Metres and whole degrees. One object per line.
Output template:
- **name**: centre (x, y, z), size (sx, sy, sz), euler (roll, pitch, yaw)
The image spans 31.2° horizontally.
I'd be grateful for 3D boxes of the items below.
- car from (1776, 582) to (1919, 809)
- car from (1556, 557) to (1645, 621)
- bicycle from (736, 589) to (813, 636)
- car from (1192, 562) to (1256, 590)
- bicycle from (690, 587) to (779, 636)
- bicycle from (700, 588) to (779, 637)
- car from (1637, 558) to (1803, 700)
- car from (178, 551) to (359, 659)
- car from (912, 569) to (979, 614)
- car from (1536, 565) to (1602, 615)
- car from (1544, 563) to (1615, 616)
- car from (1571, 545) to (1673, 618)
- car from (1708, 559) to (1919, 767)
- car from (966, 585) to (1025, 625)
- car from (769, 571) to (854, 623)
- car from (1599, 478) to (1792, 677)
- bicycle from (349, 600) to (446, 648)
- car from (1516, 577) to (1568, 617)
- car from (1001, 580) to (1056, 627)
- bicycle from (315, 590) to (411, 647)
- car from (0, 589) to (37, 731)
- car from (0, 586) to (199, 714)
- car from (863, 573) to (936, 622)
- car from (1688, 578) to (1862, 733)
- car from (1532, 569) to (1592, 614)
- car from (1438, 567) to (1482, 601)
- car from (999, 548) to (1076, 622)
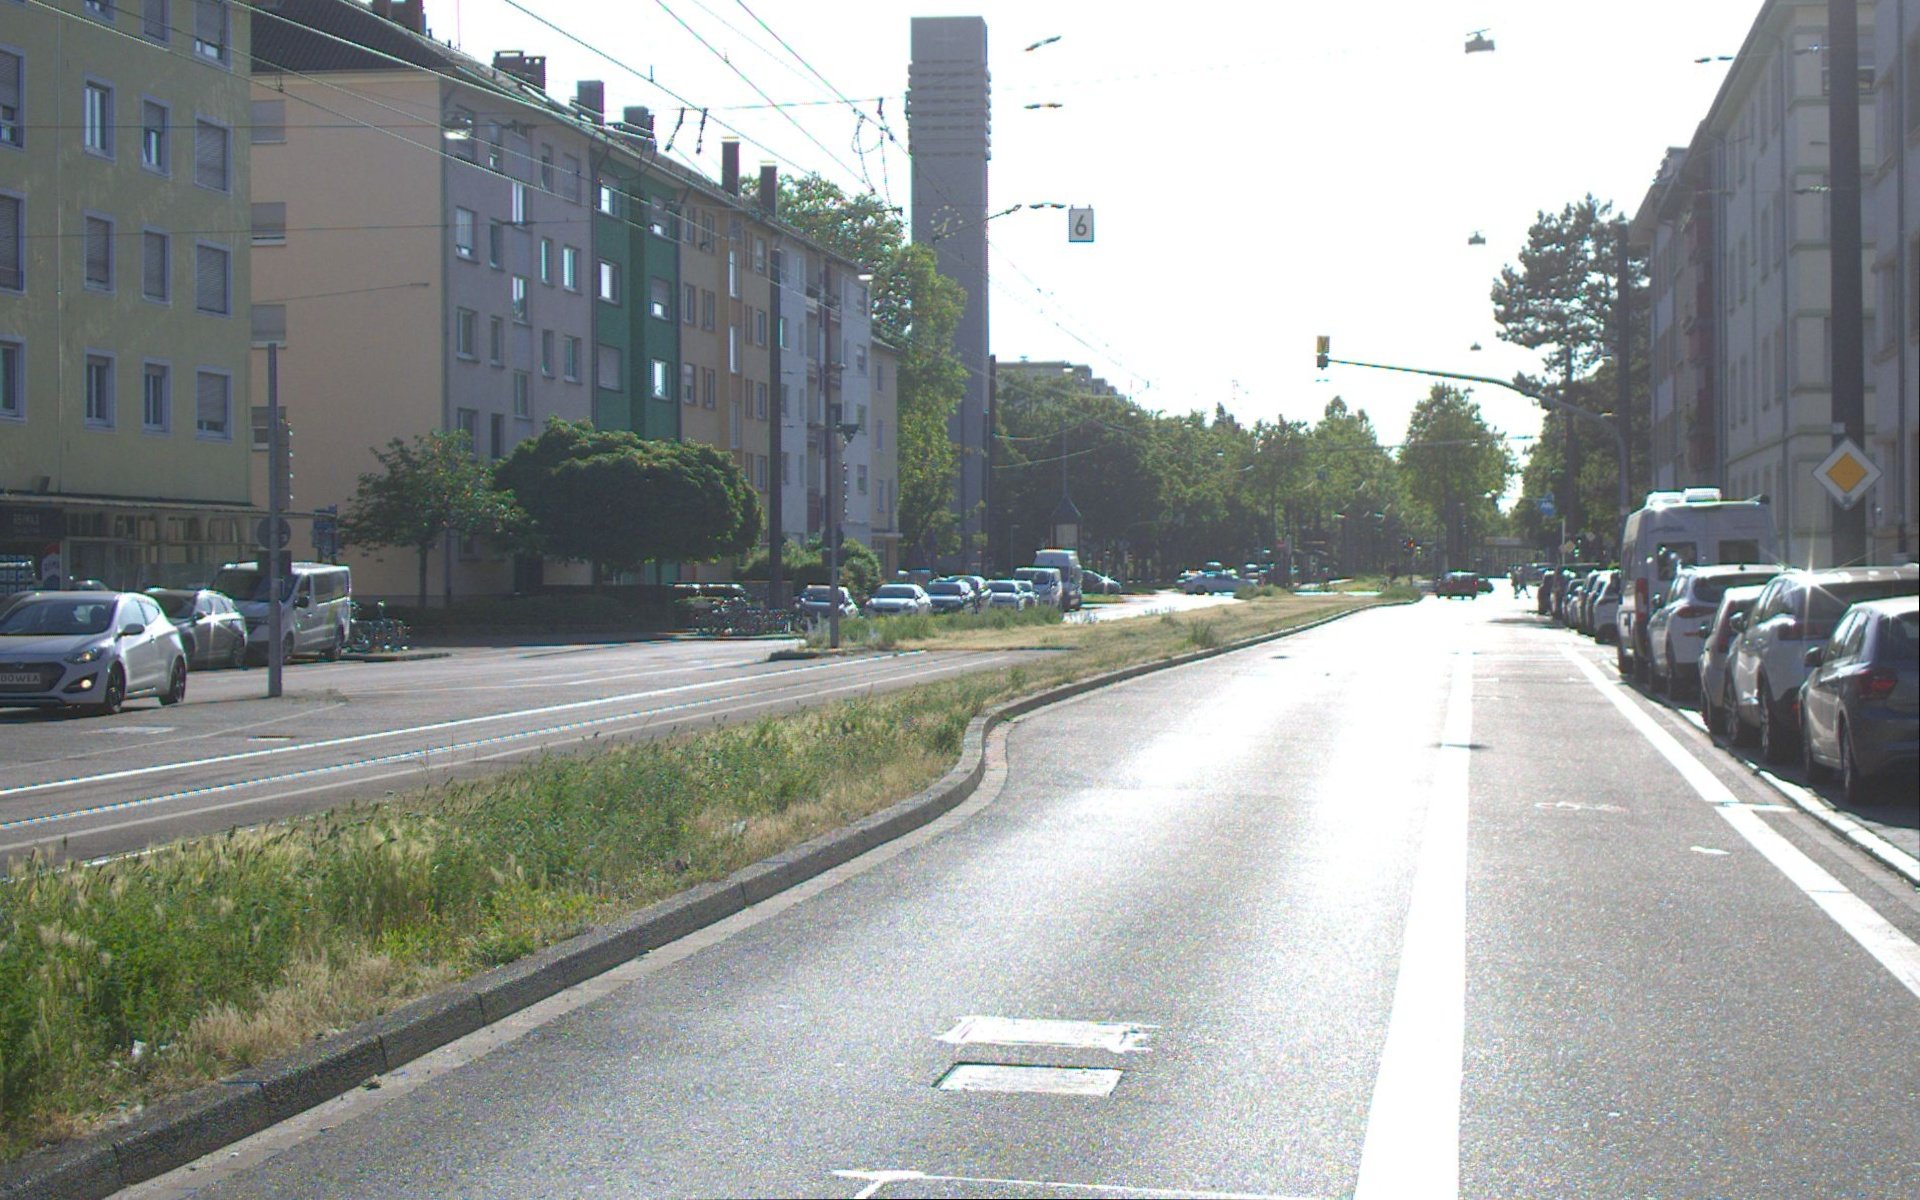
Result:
- **car**: centre (7.163, 0.628, 25.342), size (1.773, 1.466, 4.092), euler (-3, 0, 8)
- **car**: centre (16.214, -0.263, 87.163), size (1.897, 1.482, 3.738), euler (-1, -1, 6)
- **bicycle**: centre (-5.323, 0.360, 98.461), size (2.127, 1.320, 0.897), euler (0, -2, -8)
- **car**: centre (16.913, -1.528, 220.487), size (3.987, 1.678, 2.000), euler (-1, -2, 3)
- **bicycle**: centre (-6.182, 0.323, 94.267), size (2.309, 1.300, 0.913), euler (-1, -2, 5)
- **bicycle**: centre (-6.167, 0.347, 96.204), size (2.127, 1.320, 0.896), euler (-1, -2, 3)
- **car**: centre (9.486, 0.325, 43.140), size (1.590, 1.629, 3.917), euler (-3, 0, 7)
- **car**: centre (-14.000, 0.087, 69.927), size (2.004, 2.098, 5.304), euler (-1, 0, 7)
- **car**: centre (-0.514, -0.296, 127.522), size (1.994, 1.548, 3.999), euler (-1, -1, 7)
- **car**: centre (19.647, -0.301, 110.935), size (1.897, 1.482, 3.738), euler (-1, -1, 7)
- **car**: centre (18.576, -0.298, 103.178), size (1.897, 1.482, 3.738), euler (-1, -1, 7)
- **car**: centre (14.741, -0.389, 76.697), size (1.897, 1.482, 3.738), euler (-1, -1, 6)
- **car**: centre (7.735, 0.497, 30.425), size (1.662, 1.638, 4.183), euler (-3, 0, 6)
- **car**: centre (1.490, 0.217, 142.108), size (1.994, 1.548, 3.999), euler (-1, -1, 7)
- **car**: centre (-4.497, -0.082, 104.693), size (1.994, 1.448, 3.999), euler (-1, -1, 6)
- **car**: centre (10.697, -0.341, 50.370), size (2.159, 2.642, 5.642), euler (-3, 0, 7)
- **bicycle**: centre (-12.476, 0.535, 76.288), size (2.073, 1.019, 0.804), euler (0, -2, -4)
- **car**: centre (23.113, -0.110, 136.644), size (1.897, 1.482, 3.738), euler (-1, -1, 7)
- **car**: centre (3.097, 0.166, 153.638), size (1.994, 1.958, 4.750), euler (-1, -1, 7)
- **bicycle**: centre (-12.921, 0.405, 74.378), size (1.963, 1.202, 0.697), euler (0, -2, -18)
- **car**: centre (-11.109, 0.627, 34.565), size (1.963, 1.475, 4.568), euler (-1, 0, 7)
- **car**: centre (-10.660, 0.585, 41.289), size (1.823, 1.441, 4.284), euler (-1, 0, 4)
- **car**: centre (-2.046, -0.071, 117.314), size (1.994, 1.576, 3.999), euler (-1, -1, 7)
- **car**: centre (8.296, 0.532, 35.181), size (1.503, 1.421, 3.451), euler (-3, 0, 11)
- **car**: centre (21.266, -0.278, 121.469), size (1.897, 1.482, 3.738), euler (-1, -1, 7)
- **car**: centre (28.142, -0.868, 193.475), size (1.993, 1.777, 3.999), euler (-1, -1, 2)
- **car**: centre (3.688, -0.670, 162.466), size (2.986, 3.227, 6.791), euler (-1, -2, 7)
